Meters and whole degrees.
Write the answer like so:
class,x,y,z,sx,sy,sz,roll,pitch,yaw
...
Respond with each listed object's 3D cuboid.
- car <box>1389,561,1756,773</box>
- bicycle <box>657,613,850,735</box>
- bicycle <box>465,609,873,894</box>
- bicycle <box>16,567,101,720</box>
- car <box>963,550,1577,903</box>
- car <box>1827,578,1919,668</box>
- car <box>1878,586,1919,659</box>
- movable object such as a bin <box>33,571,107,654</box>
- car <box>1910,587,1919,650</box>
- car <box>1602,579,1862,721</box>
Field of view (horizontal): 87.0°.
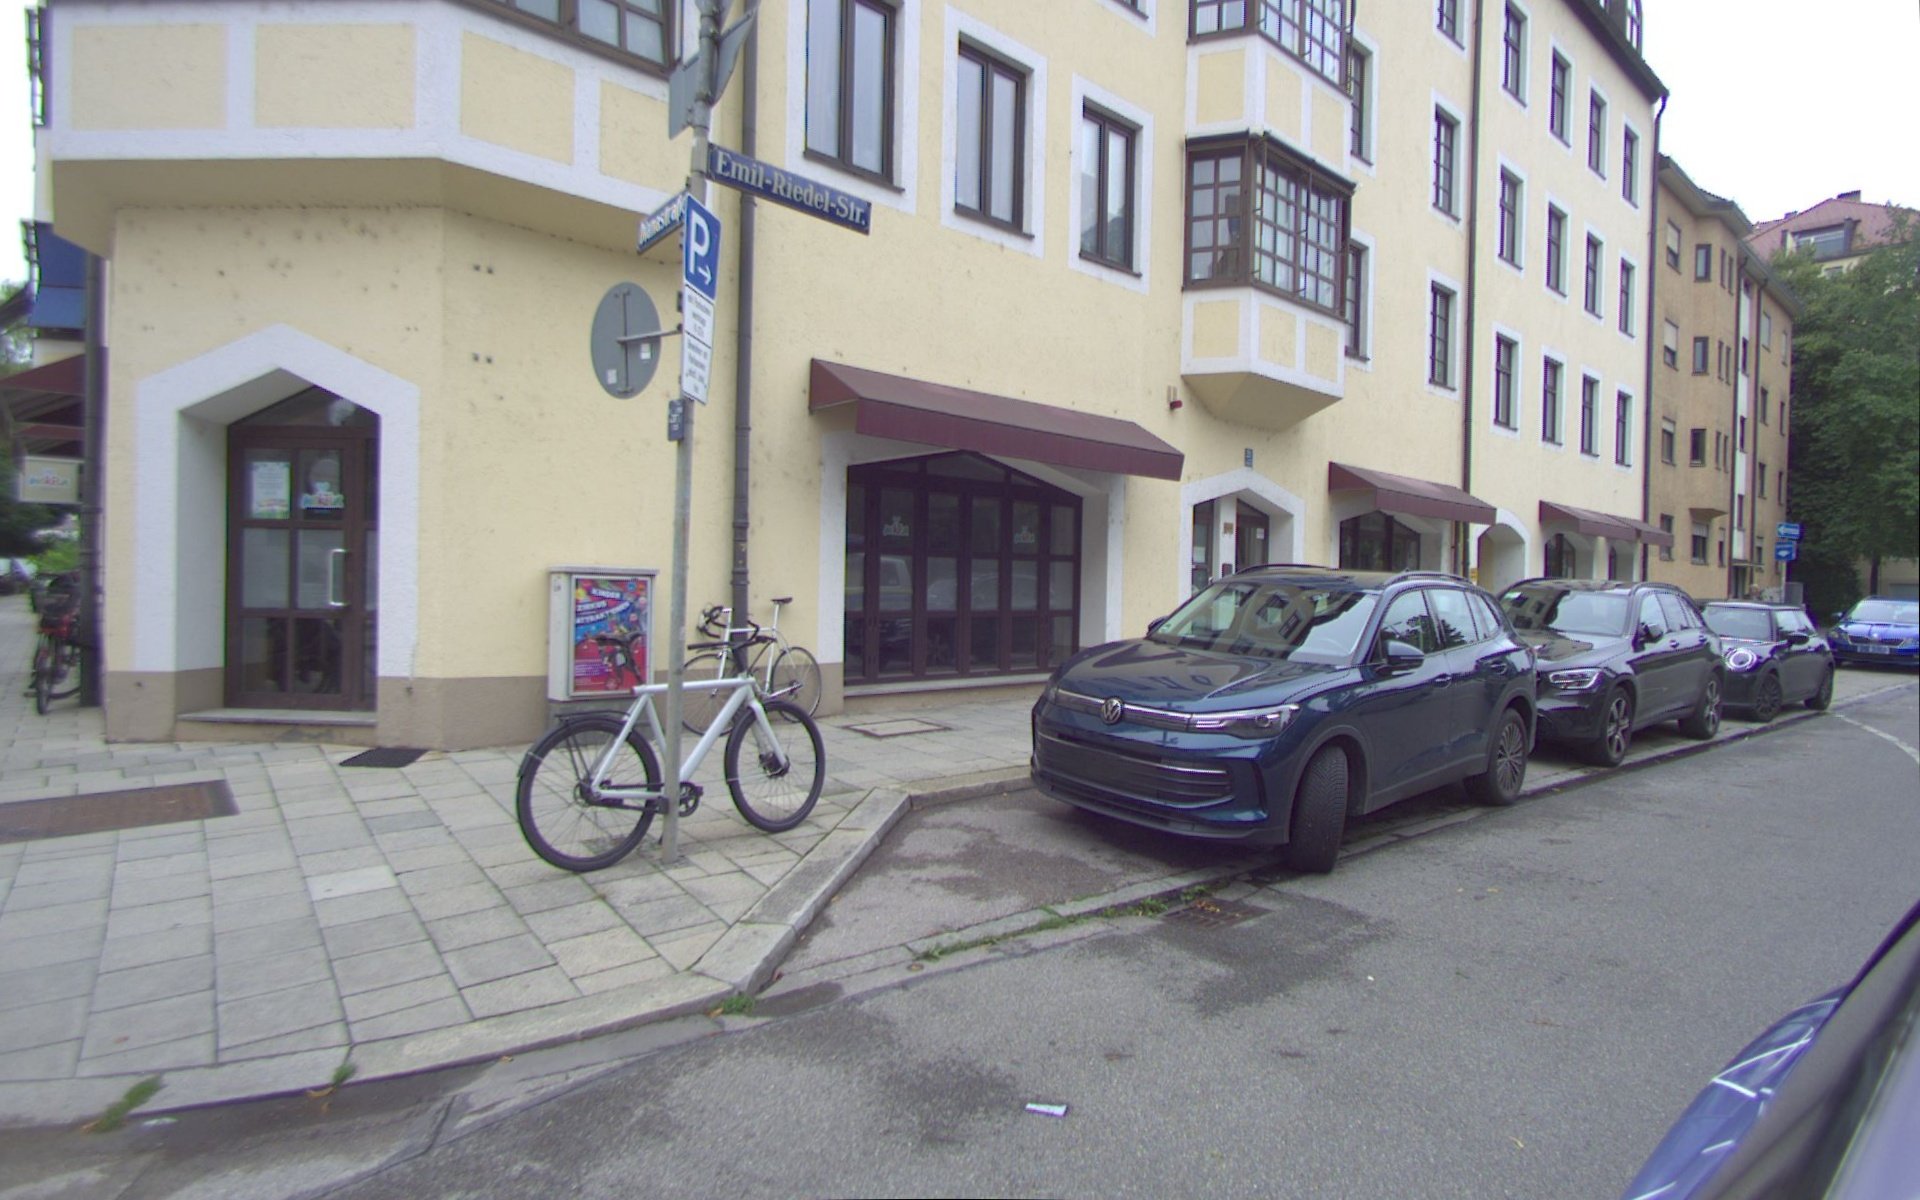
class,x,y,z,sx,sy,sz,roll,pitch,yaw
car,6.321,0.507,10.280,4.089,1.607,1.819,-1,6,-39
bicycle,-1.732,0.599,8.677,1.665,0.912,0.262,-1,6,-41
bicycle,-1.393,0.662,5.191,2.018,1.173,0.430,-1,3,-42
bicycle,-7.971,0.326,8.966,0.506,1.201,1.903,1,1,-41
car,2.356,0.554,6.986,4.420,1.643,2.109,0,1,-43
car,20.168,0.439,21.292,5.515,1.672,1.884,0,3,-39
car,24.078,0.522,24.658,4.533,1.673,1.882,0,0,-39
movable object such as a bin,-12.444,0.150,14.168,0.754,1.094,1.125,0,2,-42
car,27.716,0.500,27.768,4.503,1.673,1.882,0,0,-40
car,10.275,0.557,13.393,3.860,1.541,1.765,0,3,-38
